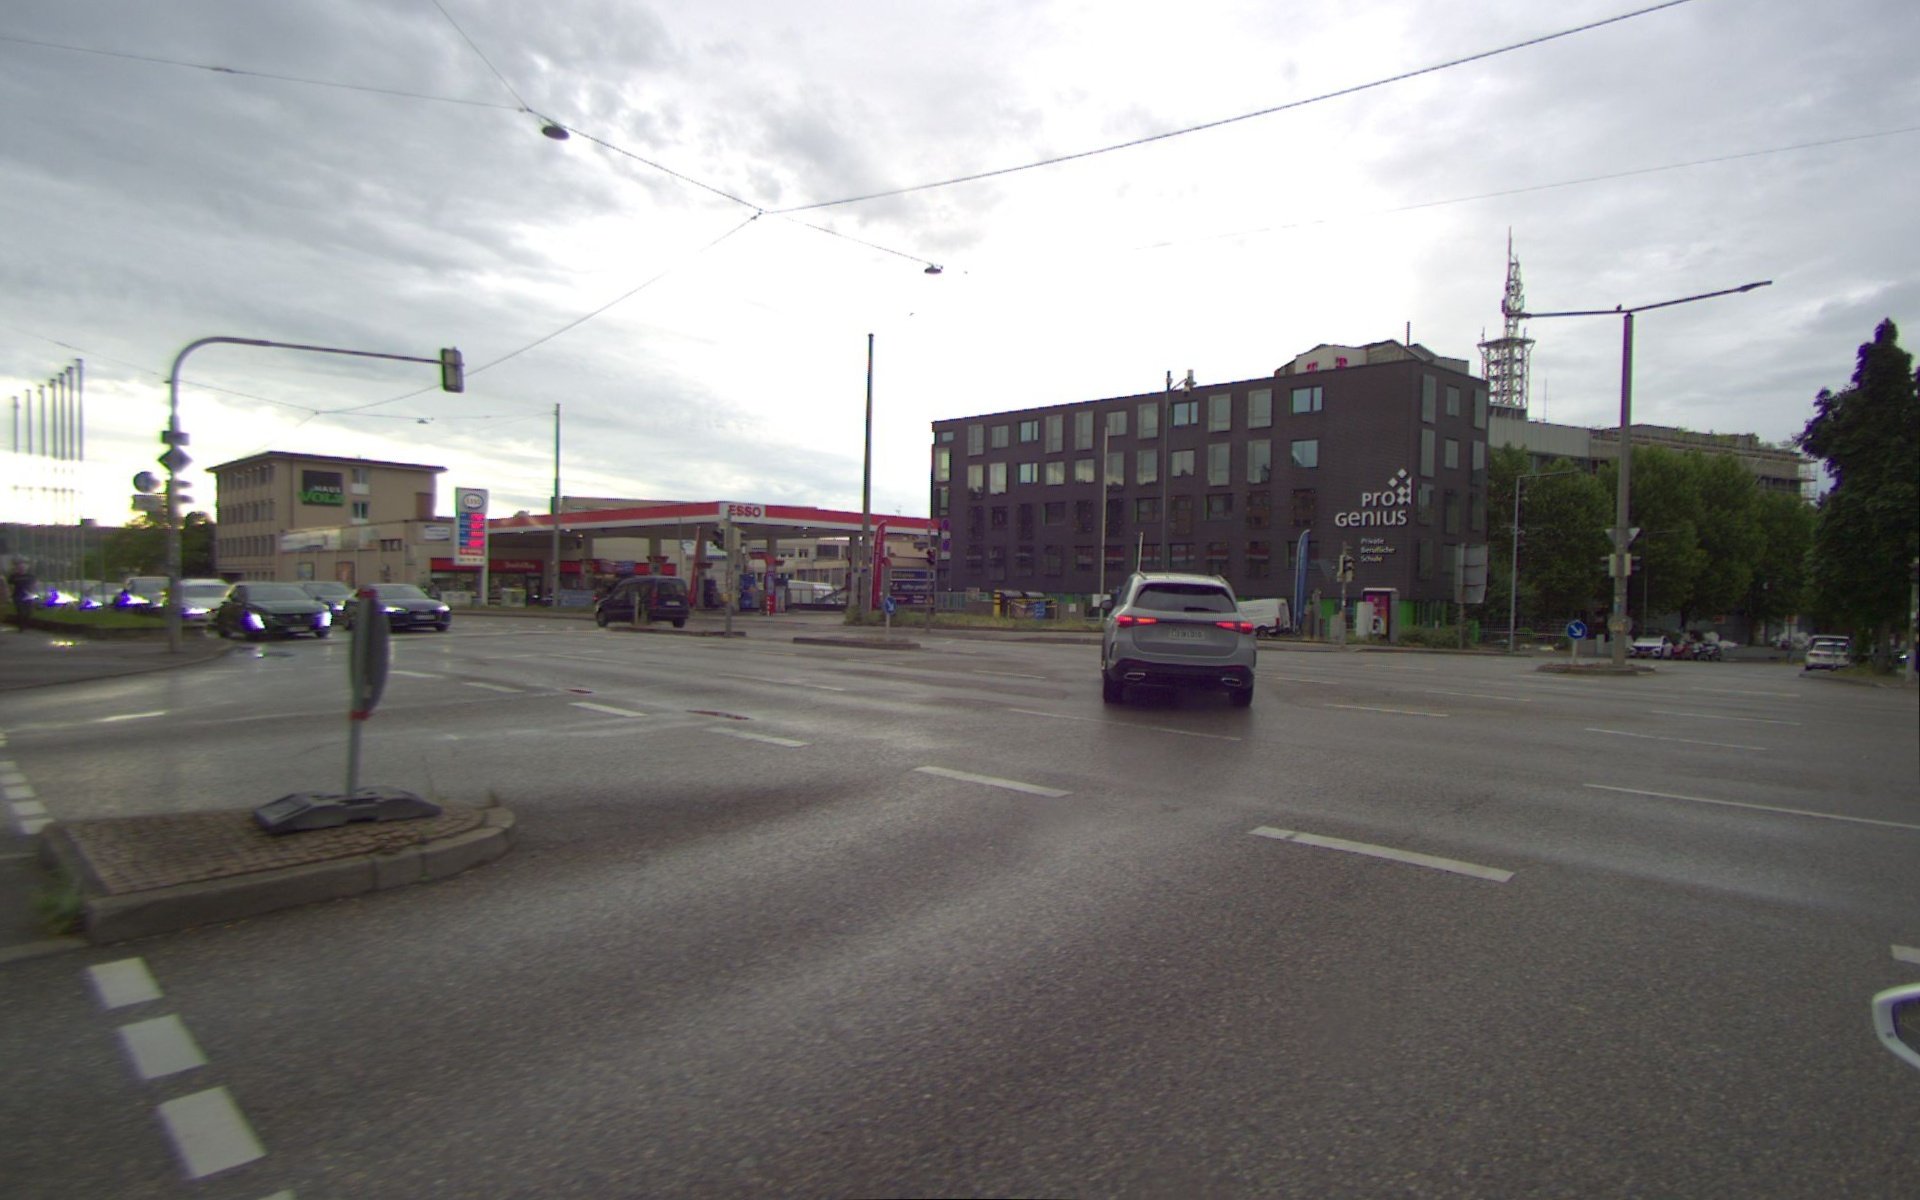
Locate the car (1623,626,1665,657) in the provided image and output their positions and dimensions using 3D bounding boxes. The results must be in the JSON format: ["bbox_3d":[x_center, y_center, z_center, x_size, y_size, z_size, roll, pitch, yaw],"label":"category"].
[{"bbox_3d":[49.909,3.050,73.243,1.970,2.040,3.981,5,1,41],"label":"car"}]

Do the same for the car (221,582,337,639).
[{"bbox_3d":[-18.014,0.223,26.521,3.942,1.339,1.642,2,2,42],"label":"car"}]

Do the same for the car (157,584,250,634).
[{"bbox_3d":[-23.486,0.227,31.145,4.031,1.419,1.688,2,2,44],"label":"car"}]

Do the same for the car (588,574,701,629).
[{"bbox_3d":[-11.318,0.036,35.947,4.065,1.792,1.851,2,0,37],"label":"car"}]

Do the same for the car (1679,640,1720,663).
[{"bbox_3d":[58.682,4.089,79.692,3.826,1.615,1.665,4,1,-40],"label":"car"}]

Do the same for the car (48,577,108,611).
[{"bbox_3d":[-40.005,-0.290,45.551,4.031,1.419,1.688,2,2,44],"label":"car"}]

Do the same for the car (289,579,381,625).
[{"bbox_3d":[-21.193,0.026,34.000,4.031,1.419,1.688,2,2,44],"label":"car"}]

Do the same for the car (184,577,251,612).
[{"bbox_3d":[-32.334,-0.281,43.726,4.031,1.419,1.688,2,2,44],"label":"car"}]

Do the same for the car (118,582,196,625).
[{"bbox_3d":[-29.212,0.086,36.505,4.031,1.419,1.688,2,2,44],"label":"car"}]

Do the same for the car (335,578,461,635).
[{"bbox_3d":[-16.644,0.134,29.696,4.199,1.546,1.955,2,2,41],"label":"car"}]

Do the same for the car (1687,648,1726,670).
[{"bbox_3d":[61.555,4.835,82.809,3.643,1.615,1.665,4,1,-40],"label":"car"}]

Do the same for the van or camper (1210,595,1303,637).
[{"bbox_3d":[20.170,1.106,68.426,5.268,2.400,2.726,5,1,41],"label":"van or camper"}]

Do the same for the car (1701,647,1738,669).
[{"bbox_3d":[64.537,4.917,85.378,3.643,1.615,1.665,4,1,-40],"label":"car"}]

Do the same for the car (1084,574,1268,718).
[{"bbox_3d":[2.784,0.485,13.893,1.876,1.654,4.211,1,2,4],"label":"car"}]

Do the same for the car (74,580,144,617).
[{"bbox_3d":[-34.644,-0.099,40.854,4.030,1.419,1.688,2,2,43],"label":"car"}]

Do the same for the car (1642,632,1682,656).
[{"bbox_3d":[53.487,3.335,76.543,3.830,1.615,1.663,4,1,-43],"label":"car"}]

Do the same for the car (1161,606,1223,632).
[{"bbox_3d":[14.099,1.193,60.970,1.778,1.305,3.975,5,1,45],"label":"car"}]

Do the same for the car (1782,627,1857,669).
[{"bbox_3d":[40.799,2.258,47.765,1.965,1.739,3.991,5,1,31],"label":"car"}]
